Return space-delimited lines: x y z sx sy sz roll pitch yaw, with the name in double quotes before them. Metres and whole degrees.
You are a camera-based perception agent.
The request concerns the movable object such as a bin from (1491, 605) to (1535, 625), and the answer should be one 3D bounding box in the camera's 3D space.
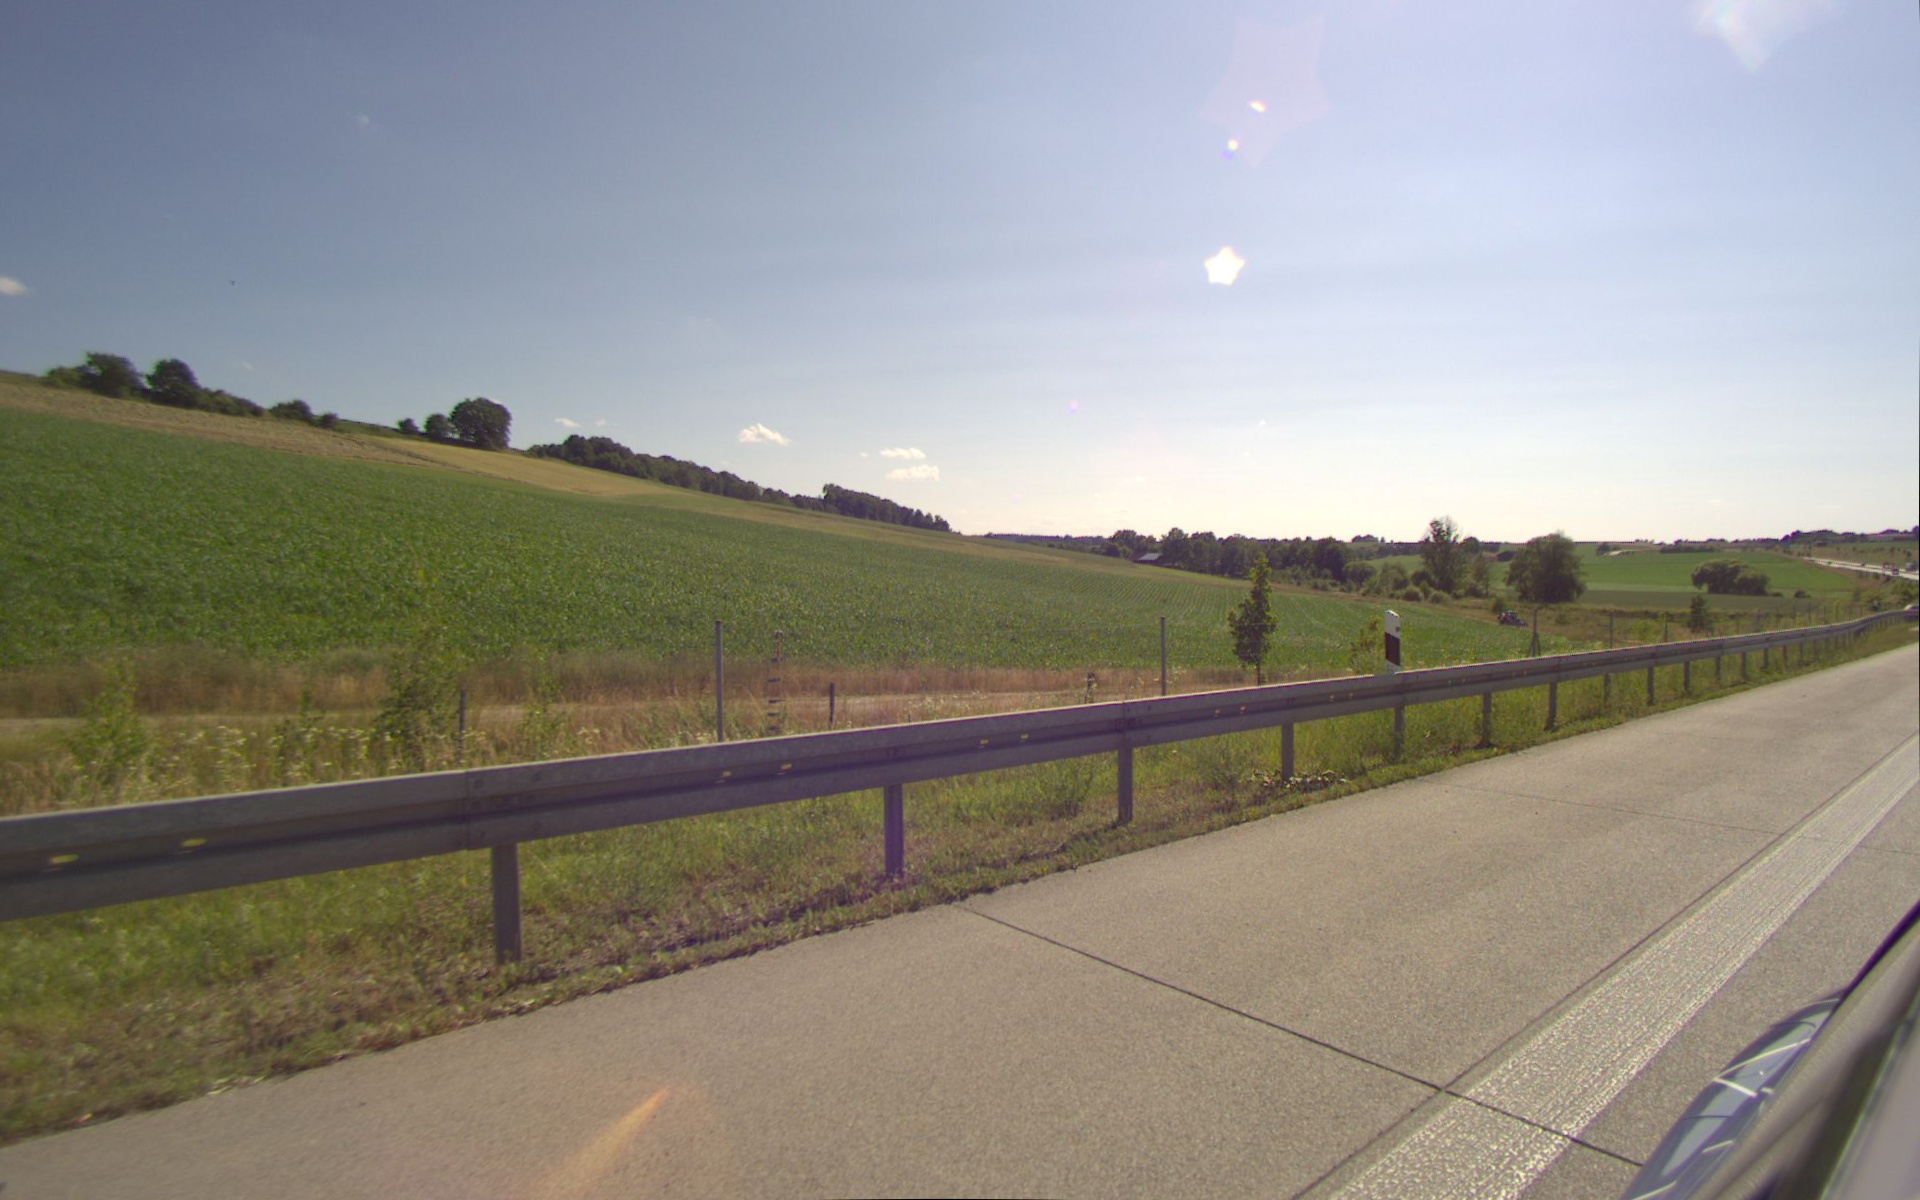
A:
"movable object such as a bin" 87.717 2.353 160.520 3.221 2.805 6.239 -2 2 -4
